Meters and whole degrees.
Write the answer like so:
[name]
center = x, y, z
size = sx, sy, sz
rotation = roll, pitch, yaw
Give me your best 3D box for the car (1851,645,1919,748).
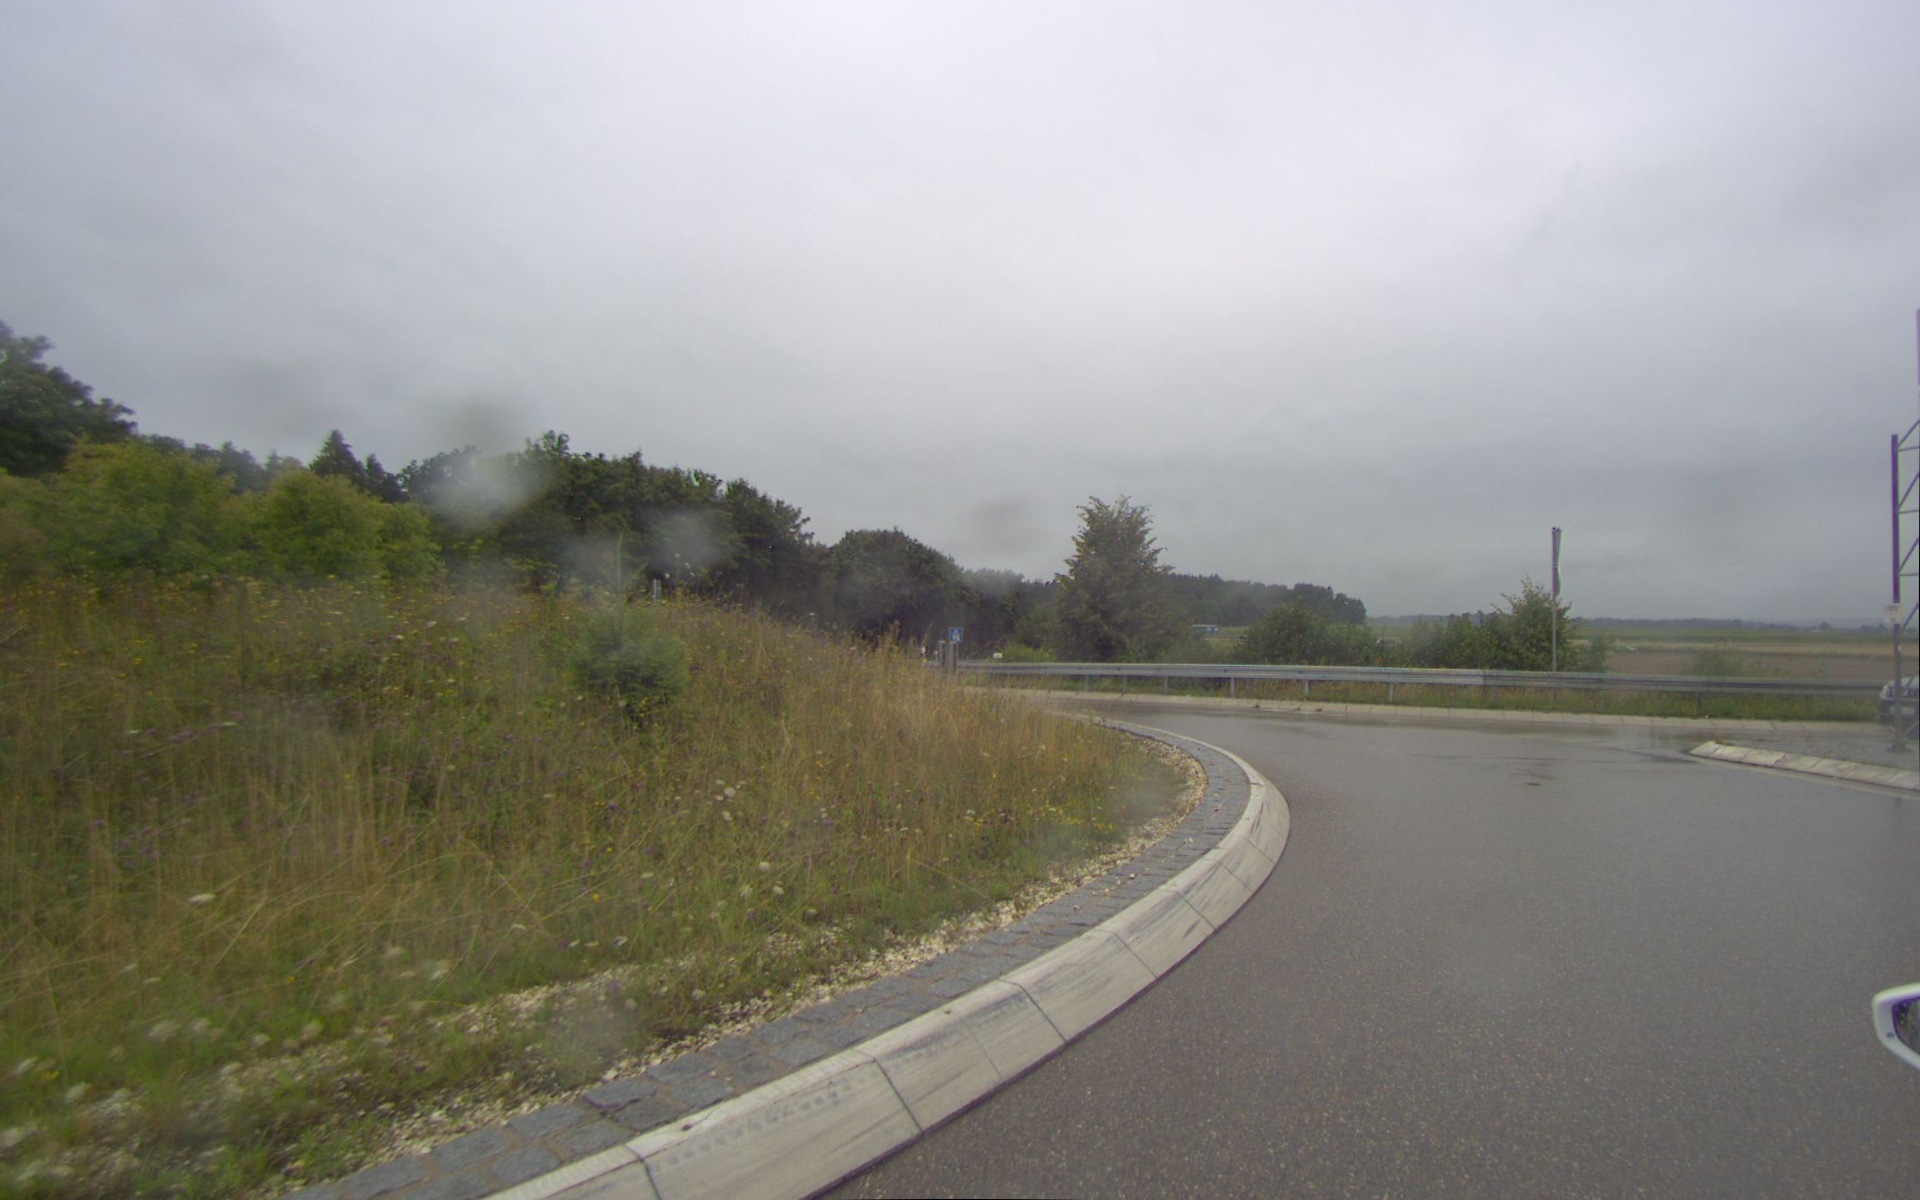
[car]
center = 17.278, 1.588, 16.291
size = 3.919, 1.596, 1.807
rotation = 1, 0, 5
